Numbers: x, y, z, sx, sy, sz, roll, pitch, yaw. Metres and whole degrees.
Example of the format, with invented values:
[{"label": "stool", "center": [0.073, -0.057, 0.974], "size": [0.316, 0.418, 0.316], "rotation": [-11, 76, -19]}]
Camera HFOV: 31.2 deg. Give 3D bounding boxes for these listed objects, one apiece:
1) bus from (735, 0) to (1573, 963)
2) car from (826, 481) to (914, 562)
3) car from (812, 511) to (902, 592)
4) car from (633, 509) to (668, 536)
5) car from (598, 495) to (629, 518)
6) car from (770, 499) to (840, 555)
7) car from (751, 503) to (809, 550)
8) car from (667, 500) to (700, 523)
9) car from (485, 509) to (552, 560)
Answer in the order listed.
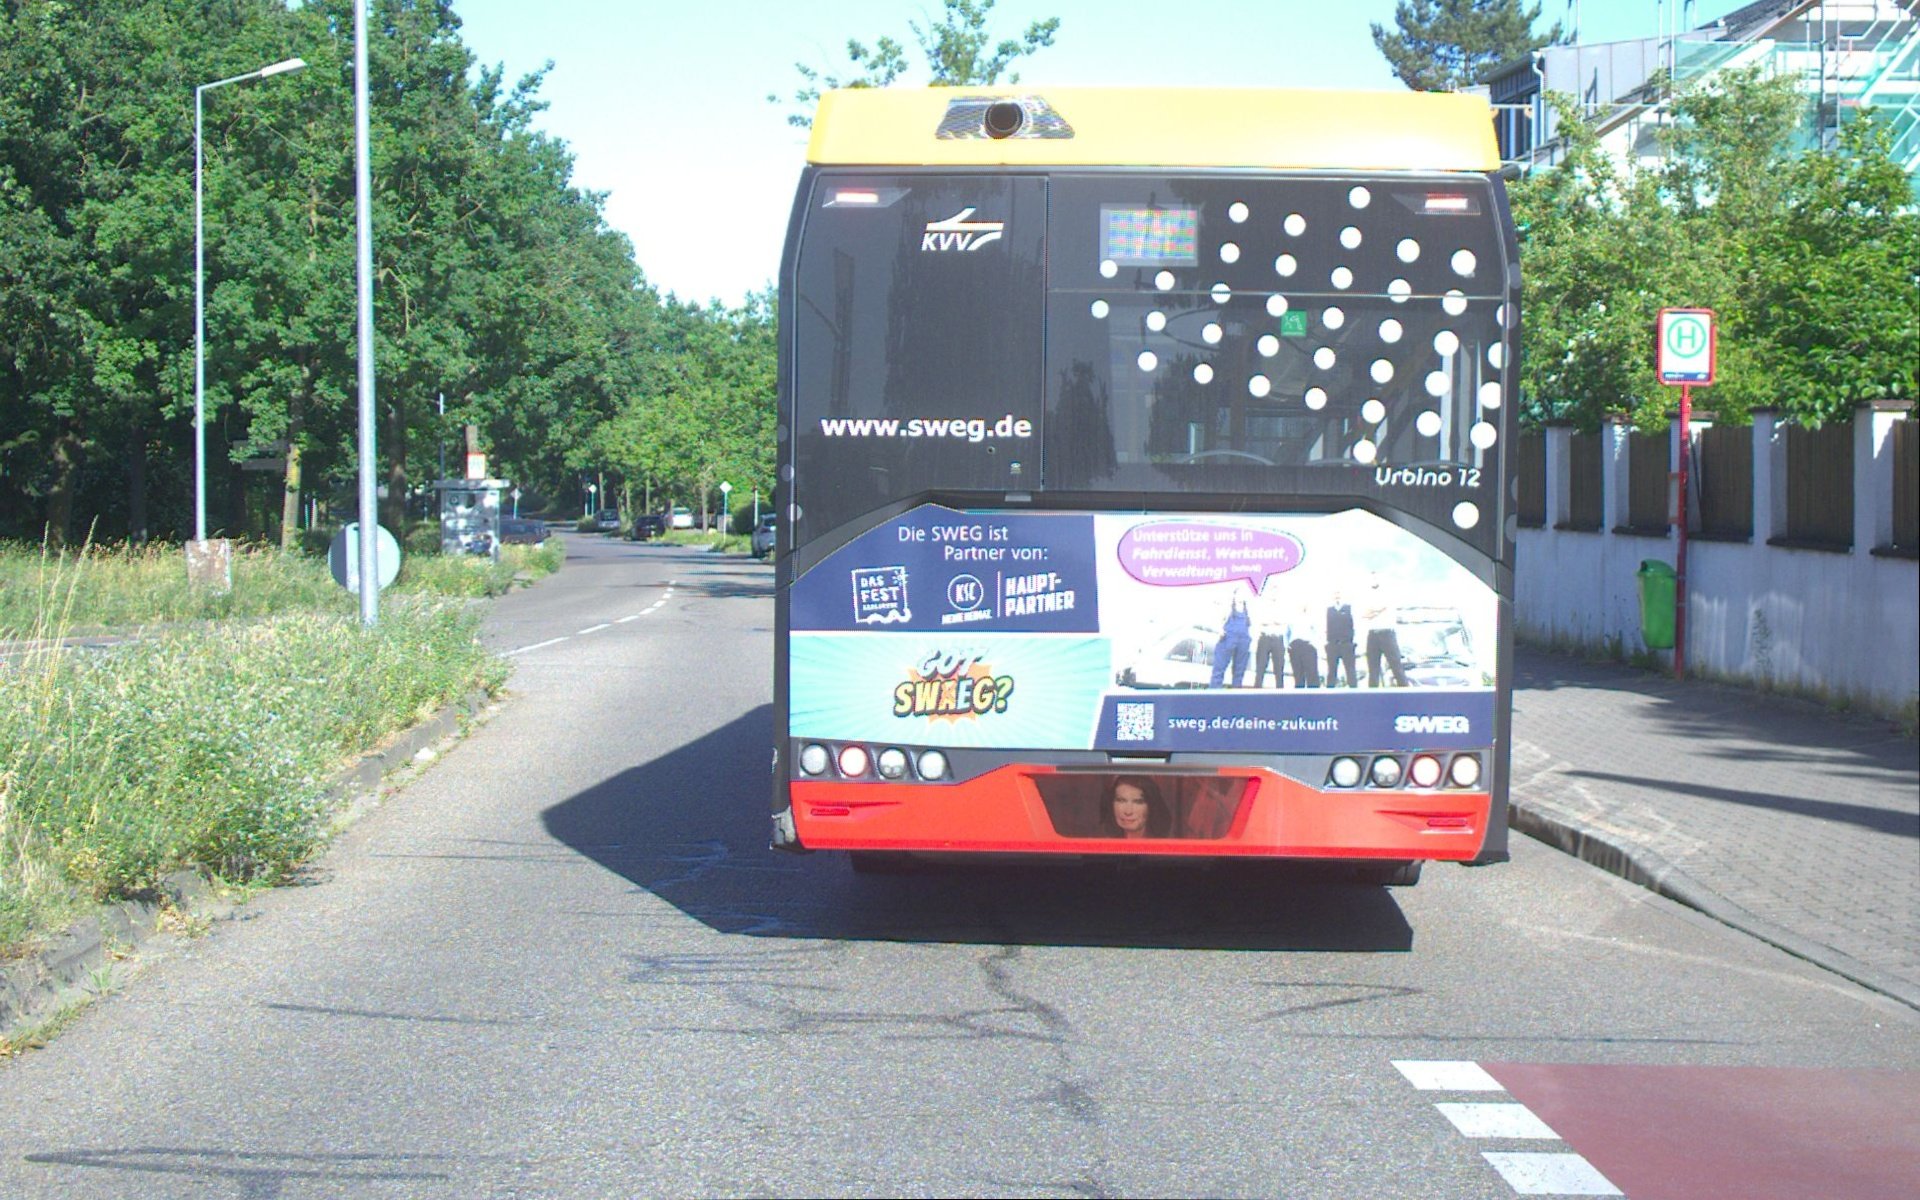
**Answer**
[{"label": "bus", "center": [0.740, -0.628, 17.687], "size": [2.757, 3.446, 12.398], "rotation": [-1, 1, 1]}, {"label": "car", "center": [-2.294, -1.992, 86.905], "size": [1.835, 1.964, 4.760], "rotation": [0, 1, -6]}, {"label": "car", "center": [-2.149, -1.019, 70.964], "size": [1.672, 1.573, 3.752], "rotation": [-2, 2, -4]}, {"label": "car", "center": [-17.806, -4.490, 197.868], "size": [1.933, 1.537, 4.001], "rotation": [0, 1, -6]}, {"label": "car", "center": [-22.461, -6.063, 222.749], "size": [1.933, 1.449, 4.001], "rotation": [0, 1, -7]}, {"label": "car", "center": [-4.842, -2.286, 107.158], "size": [1.935, 1.698, 4.001], "rotation": [0, 1, -6]}, {"label": "car", "center": [-6.798, -2.791, 129.525], "size": [1.933, 1.736, 4.001], "rotation": [0, 1, -6]}, {"label": "car", "center": [-18.051, -5.775, 224.161], "size": [1.933, 1.449, 4.001], "rotation": [0, 1, -7]}, {"label": "car", "center": [-13.062, -1.959, 101.603], "size": [1.935, 1.474, 4.001], "rotation": [0, 1, -8]}]
